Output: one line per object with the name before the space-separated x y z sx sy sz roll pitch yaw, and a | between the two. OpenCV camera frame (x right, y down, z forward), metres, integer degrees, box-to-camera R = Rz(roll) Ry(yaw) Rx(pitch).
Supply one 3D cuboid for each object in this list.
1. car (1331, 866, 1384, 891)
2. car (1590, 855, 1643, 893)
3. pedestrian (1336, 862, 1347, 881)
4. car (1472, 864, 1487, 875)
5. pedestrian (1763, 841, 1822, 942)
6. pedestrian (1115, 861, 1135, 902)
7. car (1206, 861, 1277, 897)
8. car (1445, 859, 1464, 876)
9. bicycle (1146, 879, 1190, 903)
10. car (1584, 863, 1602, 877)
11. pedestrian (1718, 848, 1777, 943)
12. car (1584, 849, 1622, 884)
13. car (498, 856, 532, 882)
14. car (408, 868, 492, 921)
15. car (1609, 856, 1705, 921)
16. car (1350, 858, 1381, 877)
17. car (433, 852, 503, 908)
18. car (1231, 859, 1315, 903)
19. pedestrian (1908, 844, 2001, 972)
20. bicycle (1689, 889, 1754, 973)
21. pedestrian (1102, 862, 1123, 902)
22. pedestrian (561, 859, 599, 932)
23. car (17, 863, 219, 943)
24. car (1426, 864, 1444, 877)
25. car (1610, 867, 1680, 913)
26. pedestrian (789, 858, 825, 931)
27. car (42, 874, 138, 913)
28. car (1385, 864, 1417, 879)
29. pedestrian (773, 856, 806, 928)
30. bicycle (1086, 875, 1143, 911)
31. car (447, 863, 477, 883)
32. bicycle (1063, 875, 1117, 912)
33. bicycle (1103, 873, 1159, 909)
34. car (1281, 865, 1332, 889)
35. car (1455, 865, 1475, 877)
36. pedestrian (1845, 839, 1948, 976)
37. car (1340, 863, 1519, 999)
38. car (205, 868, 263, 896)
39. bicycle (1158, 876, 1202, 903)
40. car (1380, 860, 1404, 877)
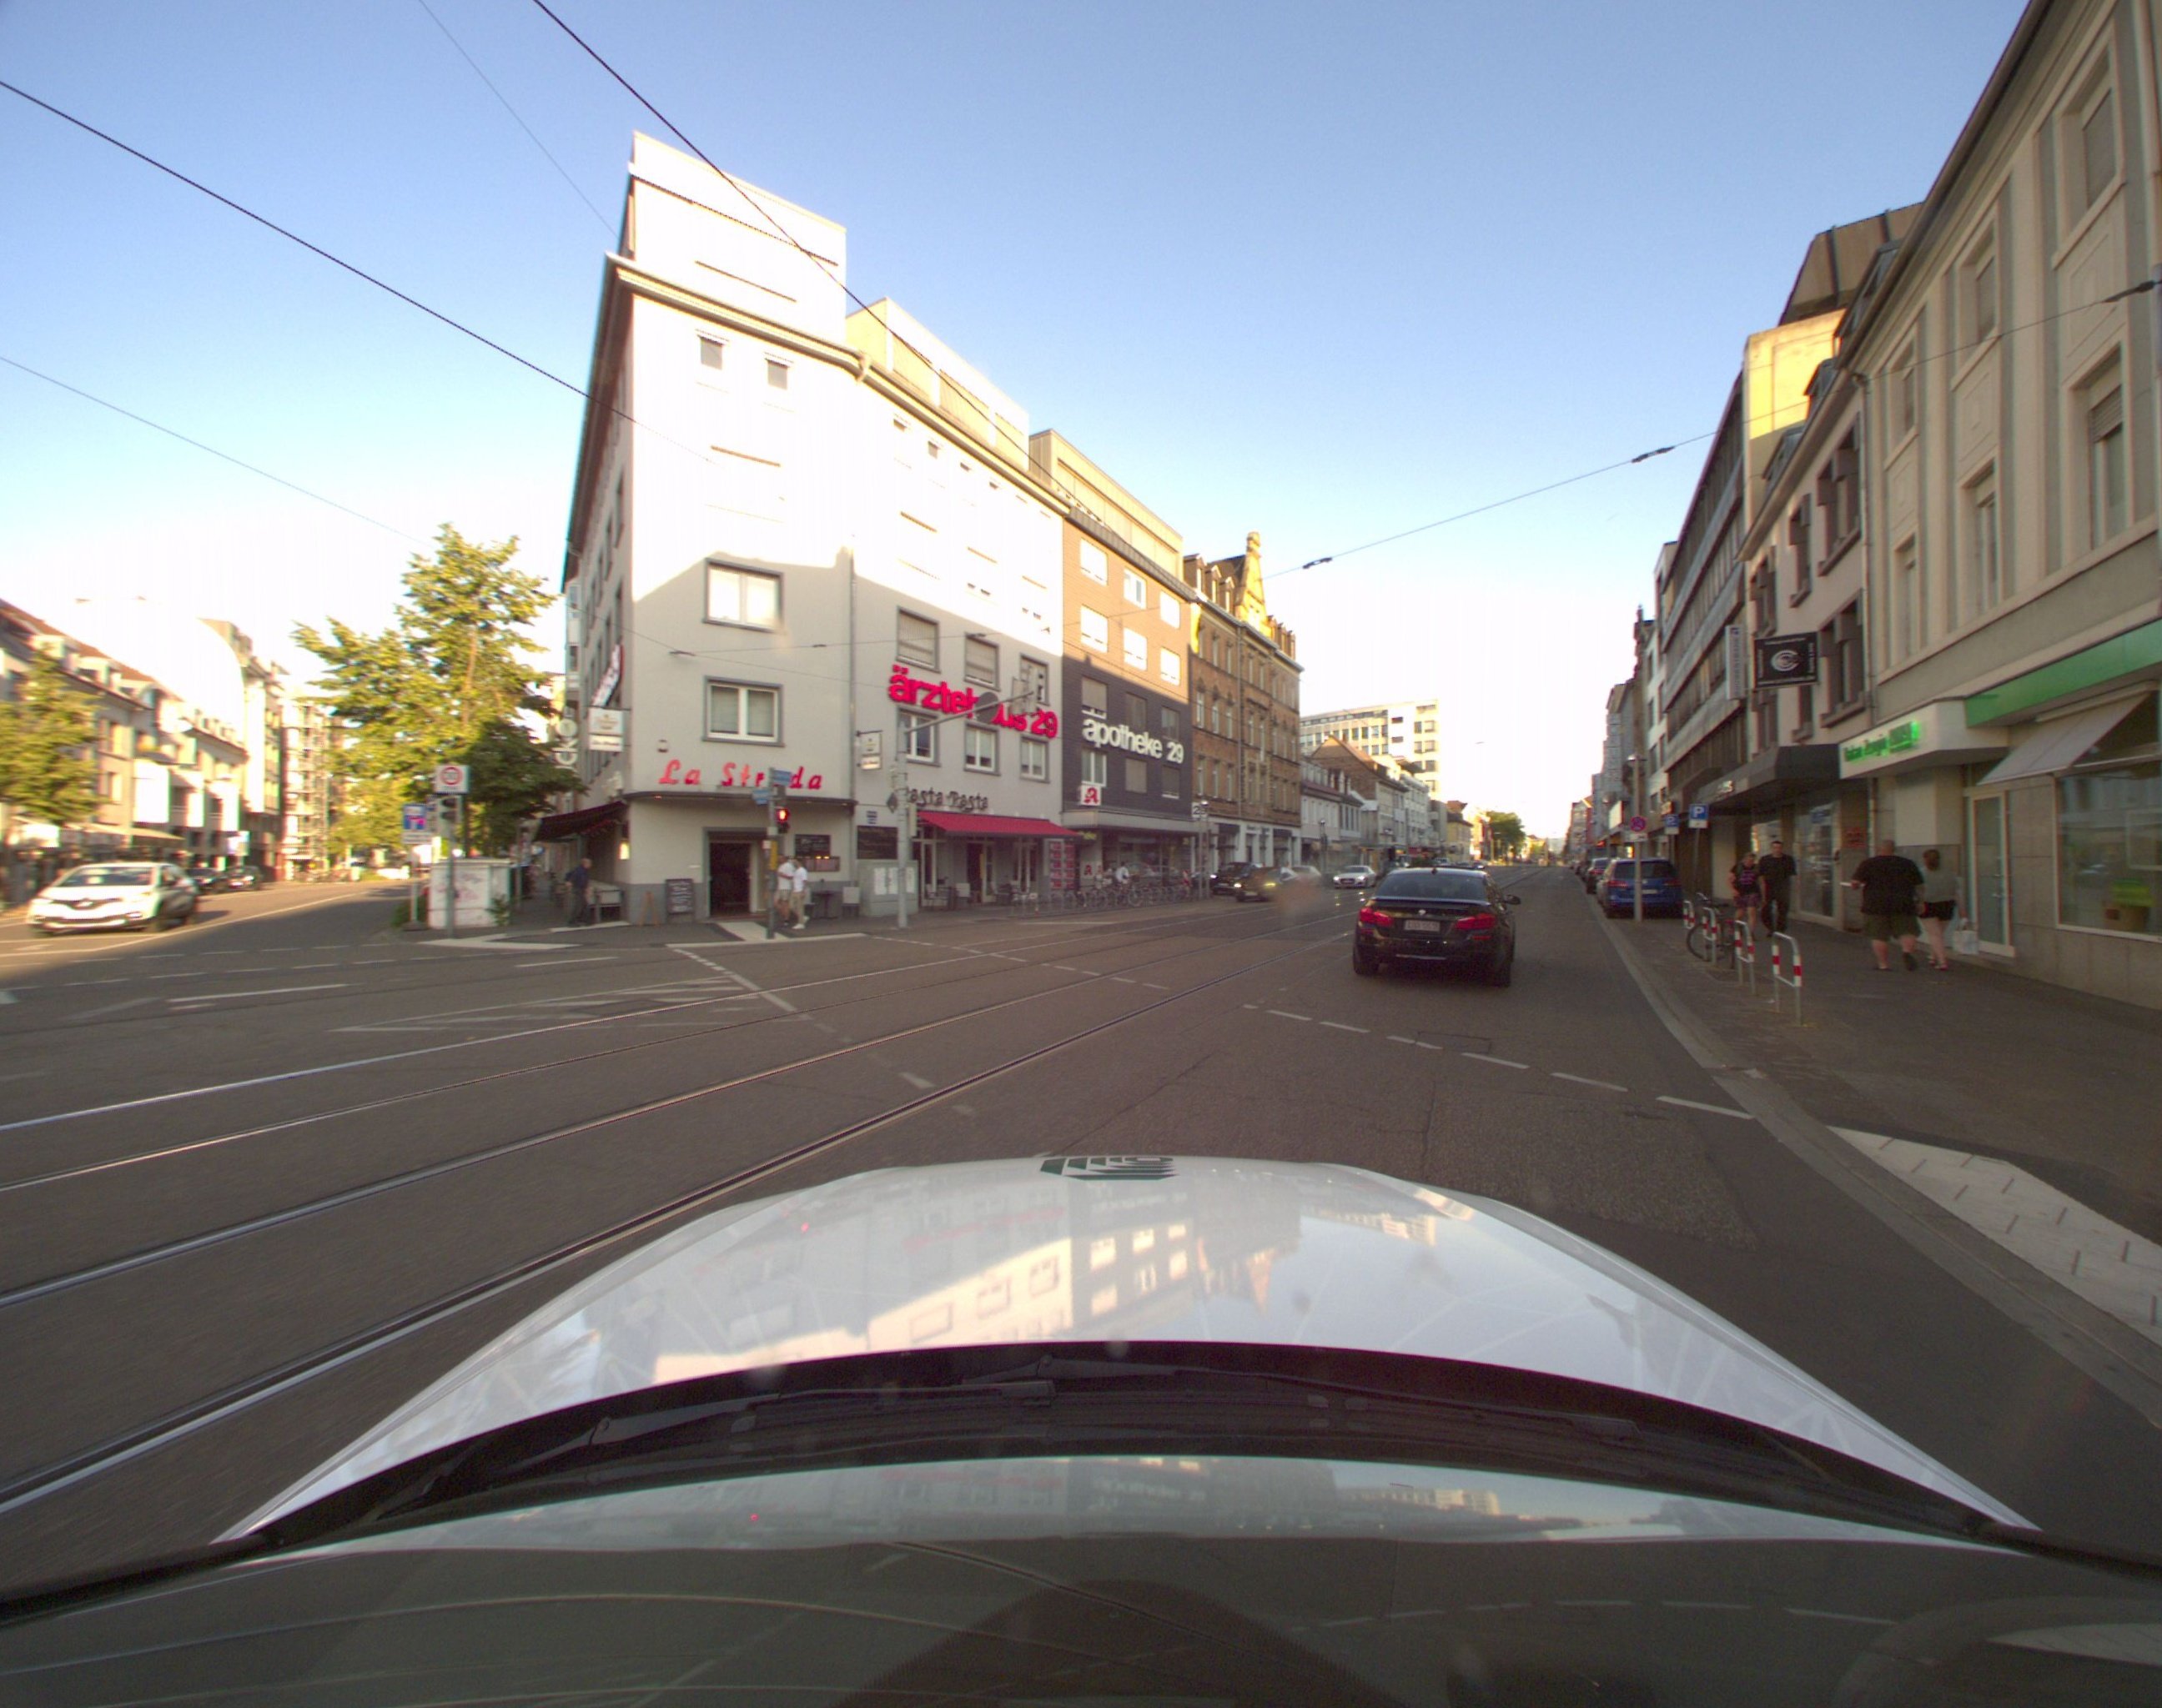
car | 16.882 1.467 49.536 1.974 1.453 4.685 -1 -1 33
car | 26.114 0.977 39.828 1.974 1.727 4.593 -3 -2 32
pedestrian | 22.048 1.467 68.916 0.656 1.644 0.698 0 -1 32
car | 56.714 2.193 116.006 1.675 1.453 4.492 -1 -1 29
pedestrian | 14.048 0.738 16.102 0.654 1.928 0.884 -2 -2 30
pedestrian | 1.869 1.153 34.455 0.614 1.699 0.606 0 0 31
car | 8.256 1.212 41.532 1.912 1.674 4.675 1 0 34
car | 49.996 1.829 108.971 1.975 2.157 4.940 -1 -1 28
bicycle | 3.685 1.573 34.564 1.788 0.912 0.459 2 2 32
car | 55.819 1.690 88.796 1.544 1.442 3.732 -3 -2 31
pedestrian | 13.367 0.822 16.355 0.730 1.829 0.856 -2 -2 30
car | 38.166 0.911 59.668 2.072 2.455 6.069 -2 -2 31
car | -41.995 1.131 60.473 1.864 1.794 3.959 2 -2 -32
car | -18.876 1.150 24.486 1.651 1.444 3.570 0 -1 -32
car | 16.795 0.967 23.955 1.974 1.727 4.605 -2 -2 32
car | 23.020 1.086 65.835 1.583 1.440 3.836 0 0 32
car | -22.343 0.926 29.801 1.651 1.874 3.570 4 -2 -32
car | 8.293 1.143 34.858 1.974 1.727 4.757 -3 -2 33
pedestrian | 12.222 0.746 11.421 0.643 1.719 0.683 -4 -3 32
bicycle | 9.679 1.127 12.344 0.528 1.147 1.499 -1 -1 30
pedestrian | 1.332 1.193 34.780 0.676 1.661 0.628 0 0 31
pedestrian | -11.825 0.961 19.219 0.706 1.676 0.706 1 -1 -34
car | -21.802 1.049 18.668 2.124 1.556 3.968 -1 -1 -37
car | 44.687 2.062 102.855 1.848 1.685 4.024 0 -1 27
car | 19.938 1.248 28.915 1.778 1.433 3.911 -3 -2 32
pedestrian | -6.725 0.978 19.972 0.672 1.744 0.631 1 -1 -37
car | -43.874 1.711 36.156 1.849 1.556 3.737 -1 -1 -37
car | 31.547 1.708 80.218 1.974 1.453 4.852 -1 -1 33
pedestrian | -7.335 0.948 20.479 0.603 1.779 0.631 1 -1 -36
bicycle | 1.229 1.416 30.195 2.092 1.224 0.556 2 0 32
car | -57.470 1.732 75.651 1.864 1.794 3.959 1 -2 -32
bicycle | 0.312 1.381 28.948 1.873 1.211 0.556 2 0 32
bicycle | 1.918 1.406 31.320 2.092 1.224 0.556 2 1 32
car | 14.320 1.406 51.592 1.850 1.453 4.639 -1 -1 33
car | 47.848 2.055 101.433 1.974 1.453 4.677 -1 -1 29
pedestrian | 11.332 0.729 11.351 0.759 1.806 0.934 -3 -2 33
car | 5.095 0.922 11.561 1.935 1.498 4.491 0 -1 28
car | -49.169 1.613 47.339 1.677 1.554 3.459 0 -1 -35
bicycle | 4.261 1.522 35.194 1.813 1.047 0.492 2 2 32
car | 28.925 1.319 75.710 1.462 1.577 2.812 -1 -1 32
